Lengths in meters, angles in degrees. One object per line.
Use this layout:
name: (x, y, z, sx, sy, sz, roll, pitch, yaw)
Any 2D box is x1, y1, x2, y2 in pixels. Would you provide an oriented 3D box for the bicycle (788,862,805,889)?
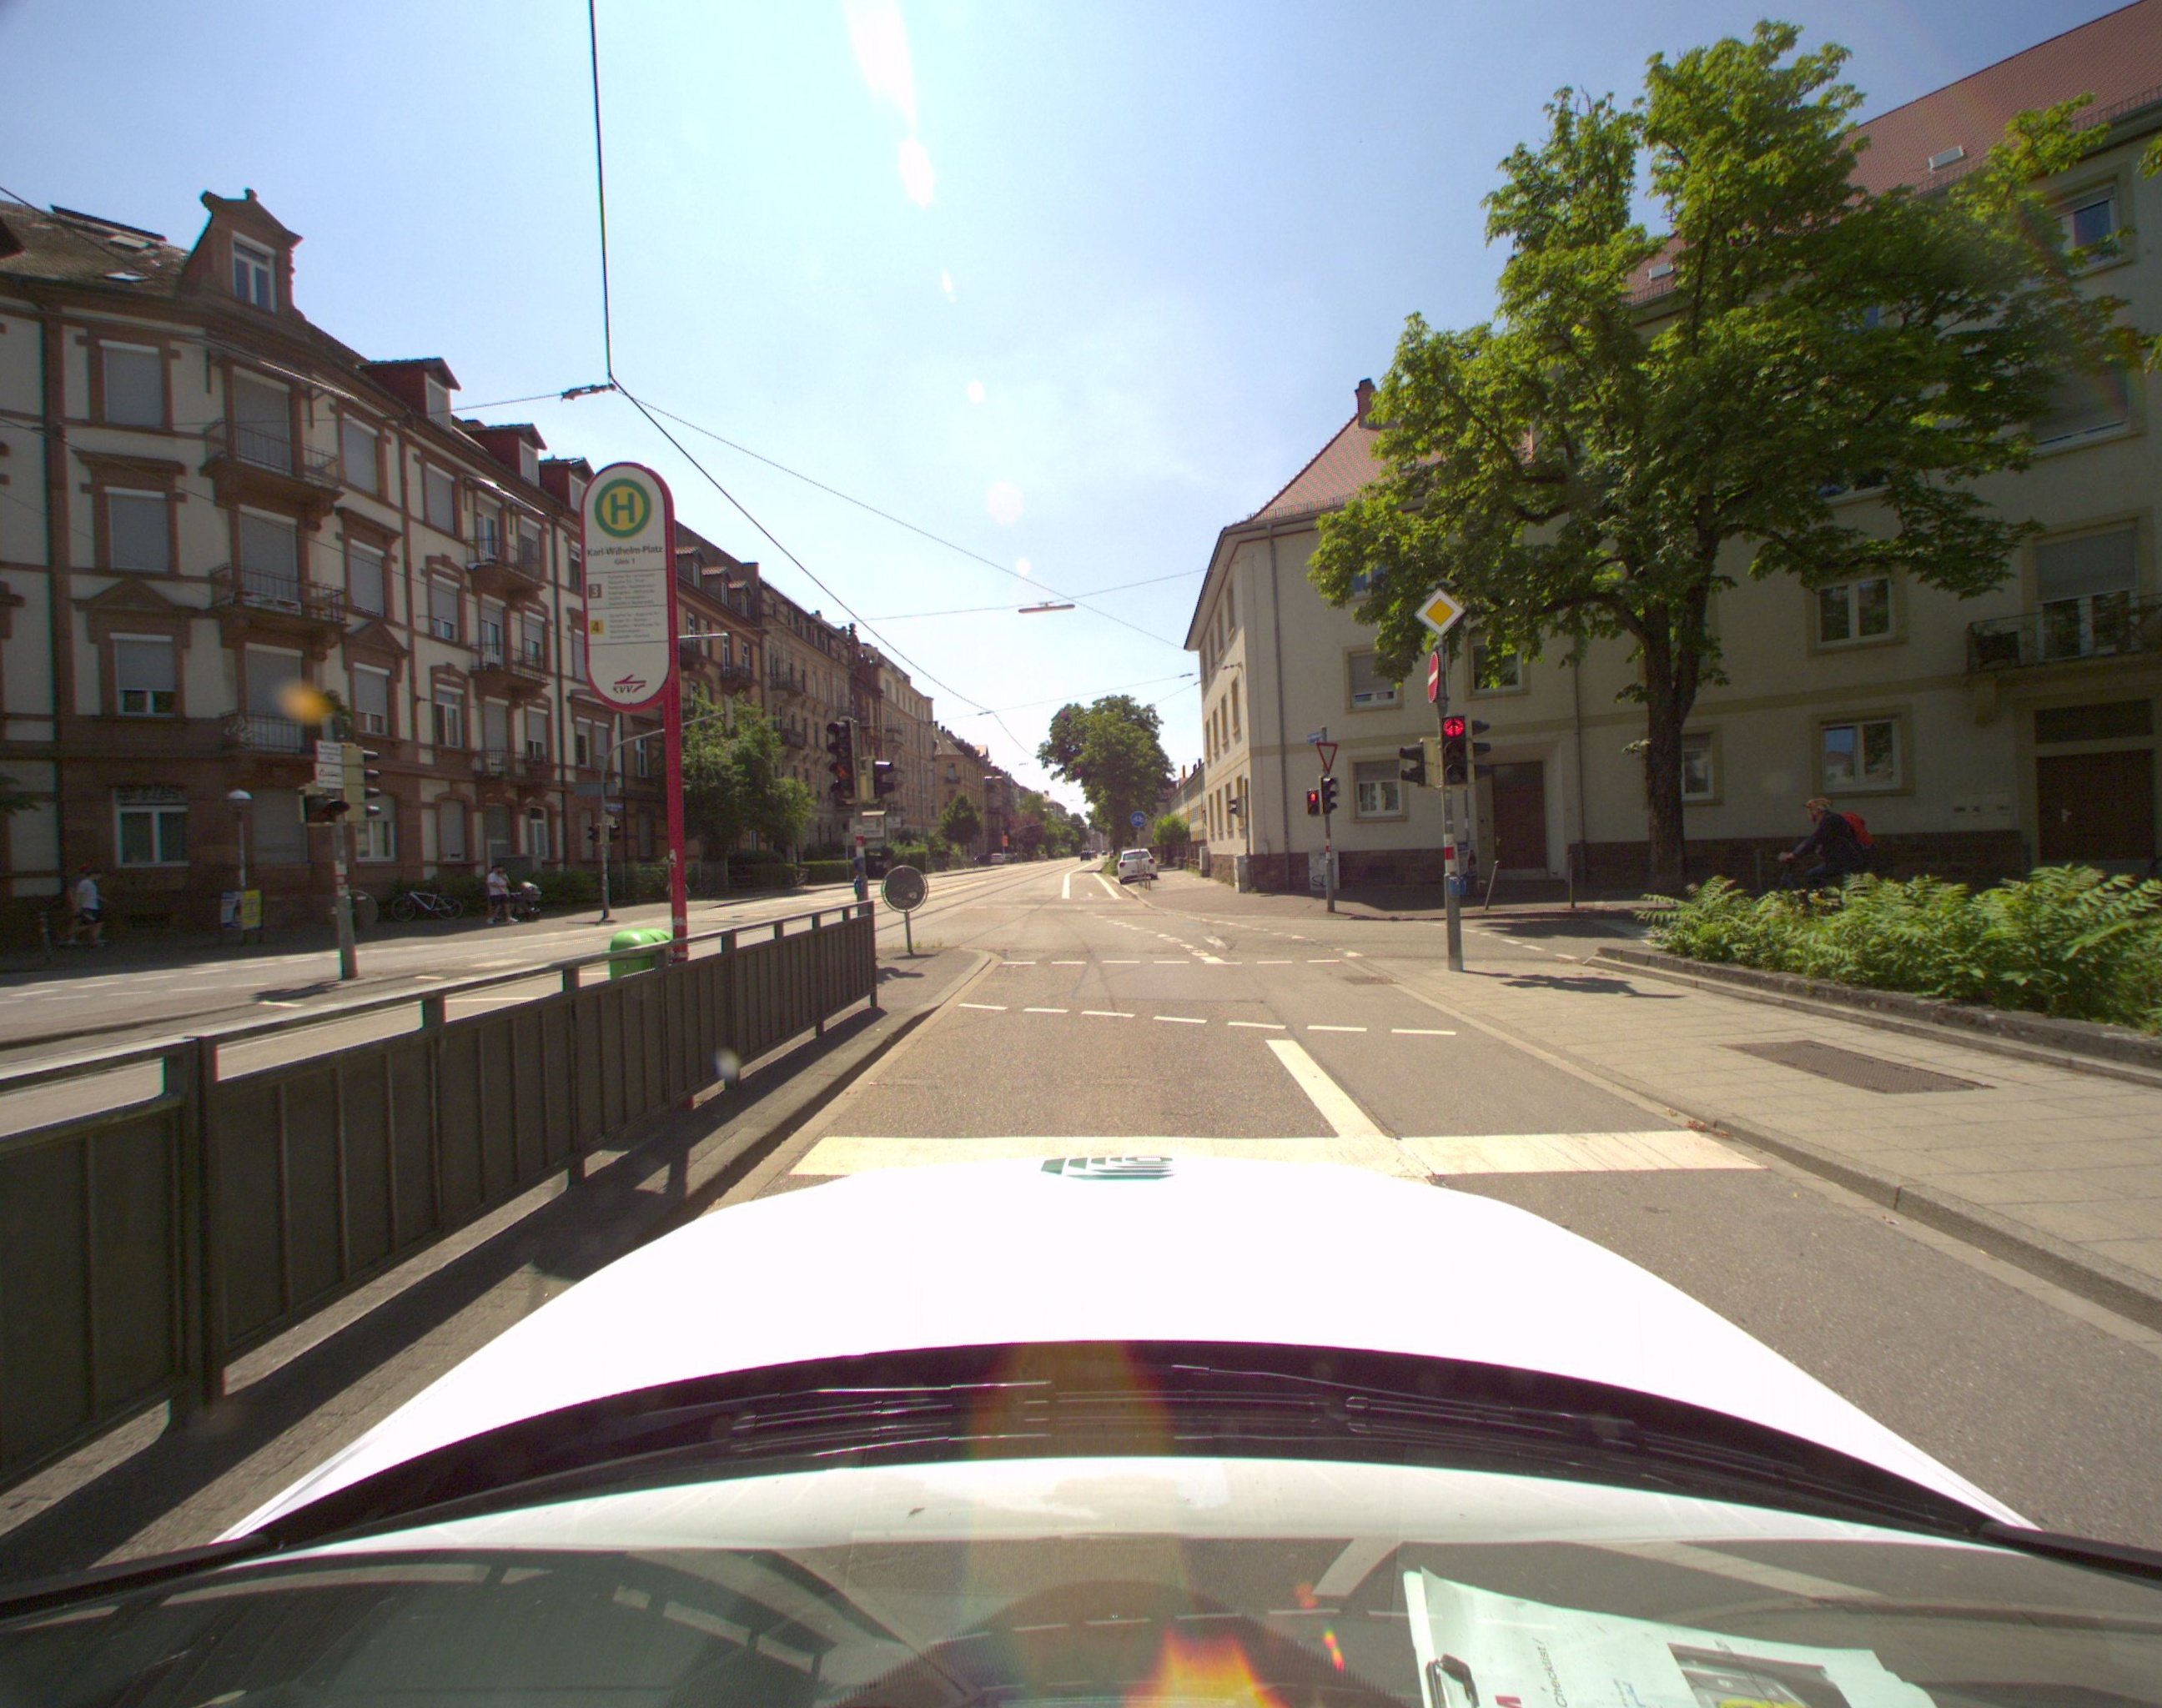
bicycle: (-14.421, 1.075, 41.269, 0.594, 1.356, 2.420, -1, 0, -24)

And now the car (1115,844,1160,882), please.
car: (2.525, 0.409, 37.238, 1.741, 1.472, 3.939, -5, 0, 1)

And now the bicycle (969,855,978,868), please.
bicycle: (-11.653, 0.778, 88.378, 0.575, 1.388, 2.502, -2, 0, 2)

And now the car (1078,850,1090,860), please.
car: (0.467, 0.148, 127.079, 1.519, 1.444, 3.367, -4, 0, 2)

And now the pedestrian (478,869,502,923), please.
pedestrian: (-17.261, 1.214, 23.783, 0.510, 1.516, 0.464, -1, -1, -40)

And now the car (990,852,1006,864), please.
car: (-11.805, 0.541, 116.149, 1.679, 1.472, 3.937, -5, 0, 0)

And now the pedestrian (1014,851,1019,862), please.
pedestrian: (-9.444, 0.369, 119.754, 0.675, 1.727, 0.678, -2, -1, 1)

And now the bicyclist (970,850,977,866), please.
bicyclist: (-11.661, 0.409, 88.328, 0.540, 1.763, 0.498, -2, -1, 1)

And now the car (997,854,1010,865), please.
car: (-11.828, 0.803, 124.375, 1.623, 1.472, 3.563, -5, 0, 0)

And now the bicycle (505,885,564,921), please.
bicycle: (-16.141, 1.422, 24.077, 1.410, 1.013, 0.384, 1, -2, -38)

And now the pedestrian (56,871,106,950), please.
pedestrian: (-23.122, 1.289, 18.837, 0.508, 1.768, 0.525, -1, -1, -20)

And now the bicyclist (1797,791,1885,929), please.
bicyclist: (9.432, 0.075, 10.132, 0.687, 1.646, 0.584, -2, -1, 35)

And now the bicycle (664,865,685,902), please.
bicycle: (-15.892, 1.131, 31.874, 0.617, 1.395, 2.289, -1, 0, -24)

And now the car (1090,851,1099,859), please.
car: (2.748, 0.202, 164.323, 1.741, 1.472, 3.939, -5, 0, 1)

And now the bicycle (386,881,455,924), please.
bicycle: (-19.519, 1.416, 24.083, 1.522, 1.169, 0.362, -1, 1, -25)

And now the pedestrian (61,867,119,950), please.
pedestrian: (-22.333, 1.210, 18.364, 0.565, 1.825, 0.631, -1, -1, -20)

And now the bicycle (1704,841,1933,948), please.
bicycle: (9.201, 0.490, 10.292, 2.060, 1.236, 0.584, -2, -1, 35)

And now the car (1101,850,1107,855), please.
car: (7.265, -0.607, 261.655, 1.623, 1.472, 3.563, -5, 0, 0)

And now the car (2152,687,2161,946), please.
car: (12.526, -0.334, 5.832, 2.010, 2.590, 5.784, -2, 0, -37)

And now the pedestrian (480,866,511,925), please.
pedestrian: (-16.606, 1.152, 23.099, 0.657, 1.615, 0.464, -1, 2, -40)
